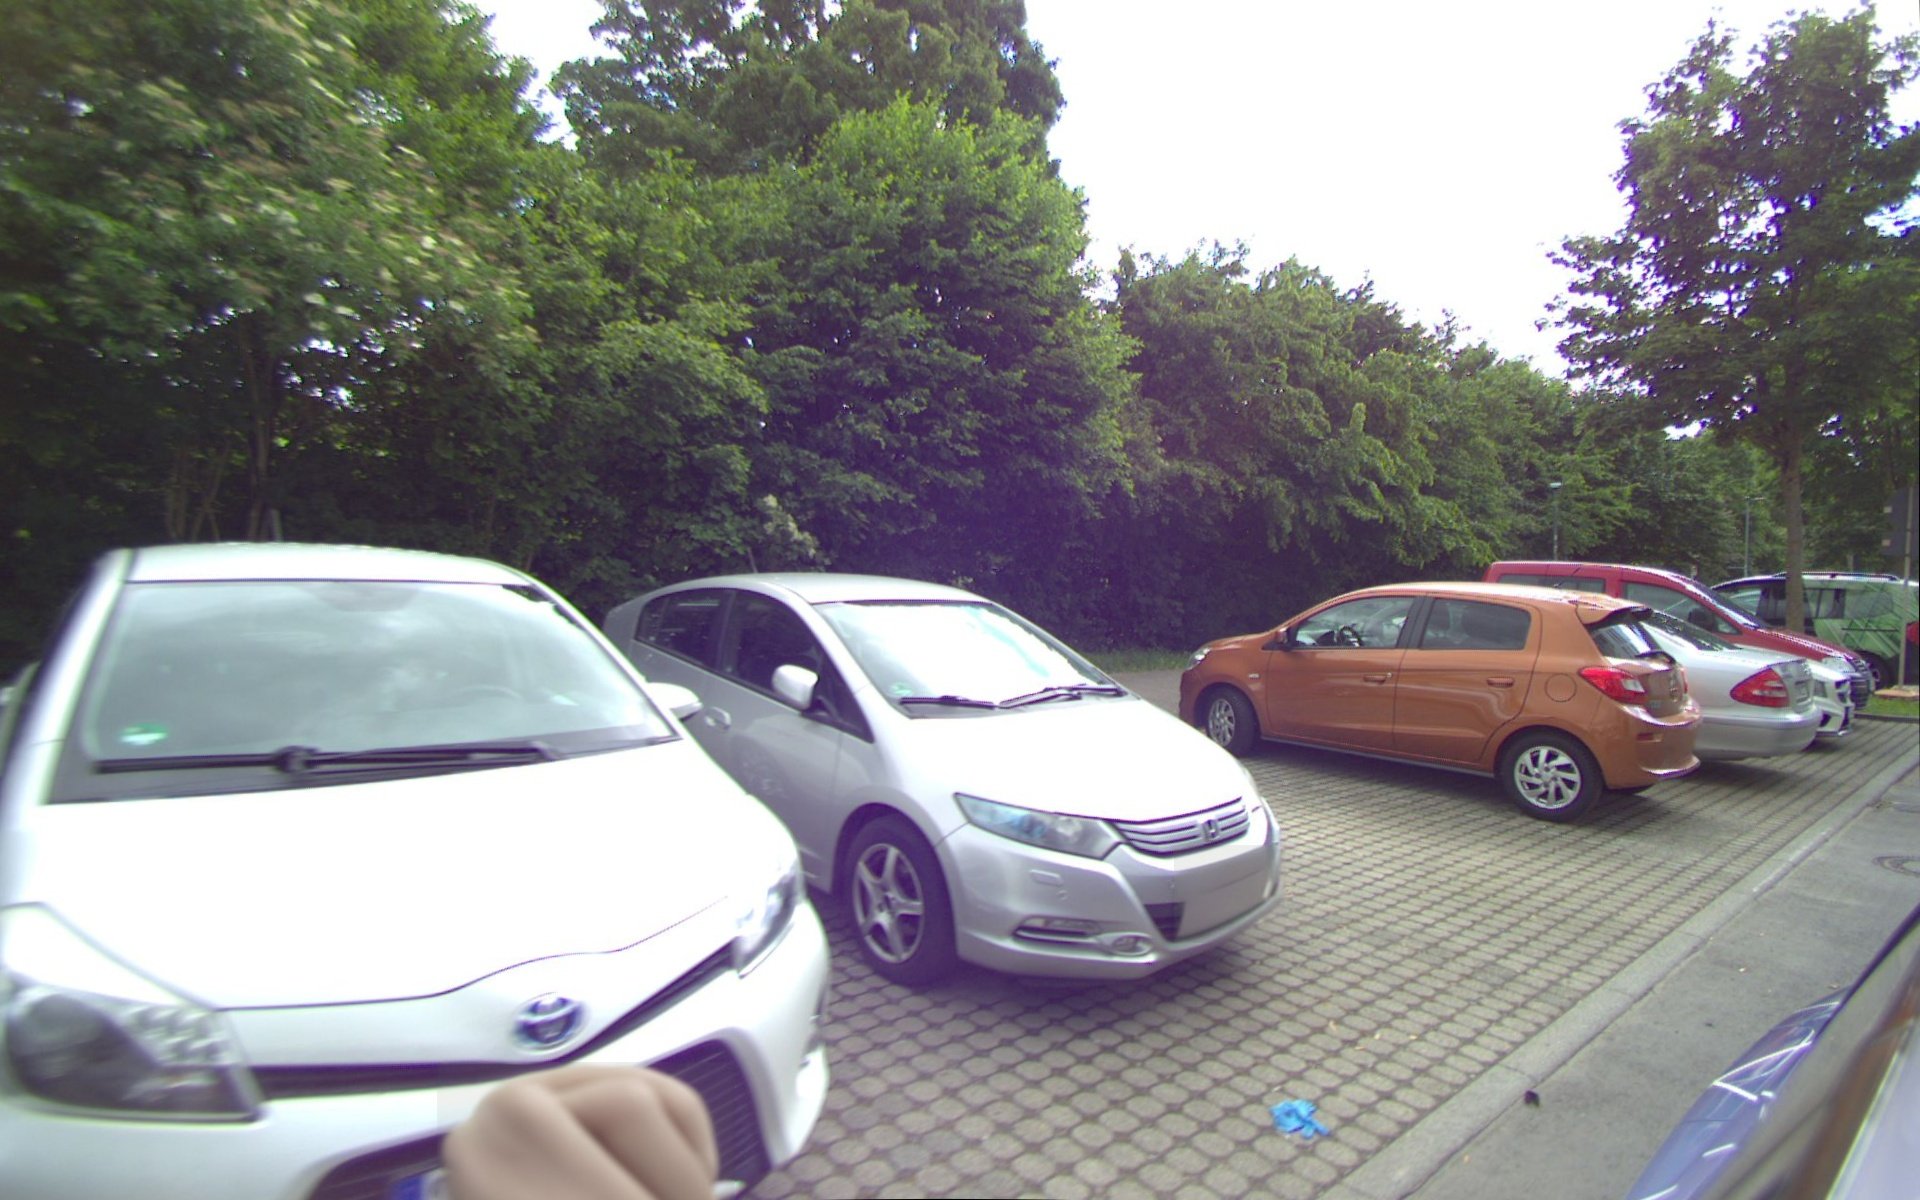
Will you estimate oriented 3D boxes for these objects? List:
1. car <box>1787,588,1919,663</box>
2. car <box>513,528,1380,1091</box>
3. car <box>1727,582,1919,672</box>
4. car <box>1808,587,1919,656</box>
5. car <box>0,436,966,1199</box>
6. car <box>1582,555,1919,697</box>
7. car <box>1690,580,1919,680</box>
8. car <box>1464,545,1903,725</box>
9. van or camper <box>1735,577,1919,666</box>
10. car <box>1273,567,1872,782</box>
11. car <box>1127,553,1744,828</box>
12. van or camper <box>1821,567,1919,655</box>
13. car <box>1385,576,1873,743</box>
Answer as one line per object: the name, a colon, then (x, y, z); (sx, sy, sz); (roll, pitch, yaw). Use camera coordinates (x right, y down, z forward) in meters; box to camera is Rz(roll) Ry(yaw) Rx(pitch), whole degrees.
car: (22.677, 0.598, 24.436); (1.852, 1.754, 3.973); (0, -1, -42)
car: (-0.513, 0.473, 5.134); (1.879, 1.581, 4.484); (0, 3, -42)
car: (18.756, 0.538, 21.226); (1.852, 1.754, 3.973); (0, -1, -42)
car: (24.586, 0.539, 26.073); (2.071, 1.622, 3.974); (-3, 3, -42)
car: (-2.042, 0.523, 3.328); (1.765, 1.606, 4.161); (0, 2, -42)
car: (13.075, 0.310, 16.542); (1.852, 1.922, 4.558); (0, 3, -42)
car: (16.727, 0.545, 19.531); (1.852, 1.754, 3.973); (0, -1, -42)
car: (9.098, 0.289, 13.031); (1.806, 1.916, 4.287); (0, 2, -42)
van or camper: (20.393, 0.477, 23.174); (1.699, 1.897, 3.973); (0, -1, -42)
car: (5.412, 0.472, 9.462); (1.910, 1.453, 4.405); (0, 2, -41)
car: (3.470, 0.461, 8.114); (1.646, 1.611, 4.158); (0, 2, -38)
van or camper: (26.247, 0.286, 27.617); (1.852, 2.349, 3.973); (0, -1, -42)
car: (7.342, 0.509, 11.464); (1.806, 1.426, 4.287); (0, 2, -42)
